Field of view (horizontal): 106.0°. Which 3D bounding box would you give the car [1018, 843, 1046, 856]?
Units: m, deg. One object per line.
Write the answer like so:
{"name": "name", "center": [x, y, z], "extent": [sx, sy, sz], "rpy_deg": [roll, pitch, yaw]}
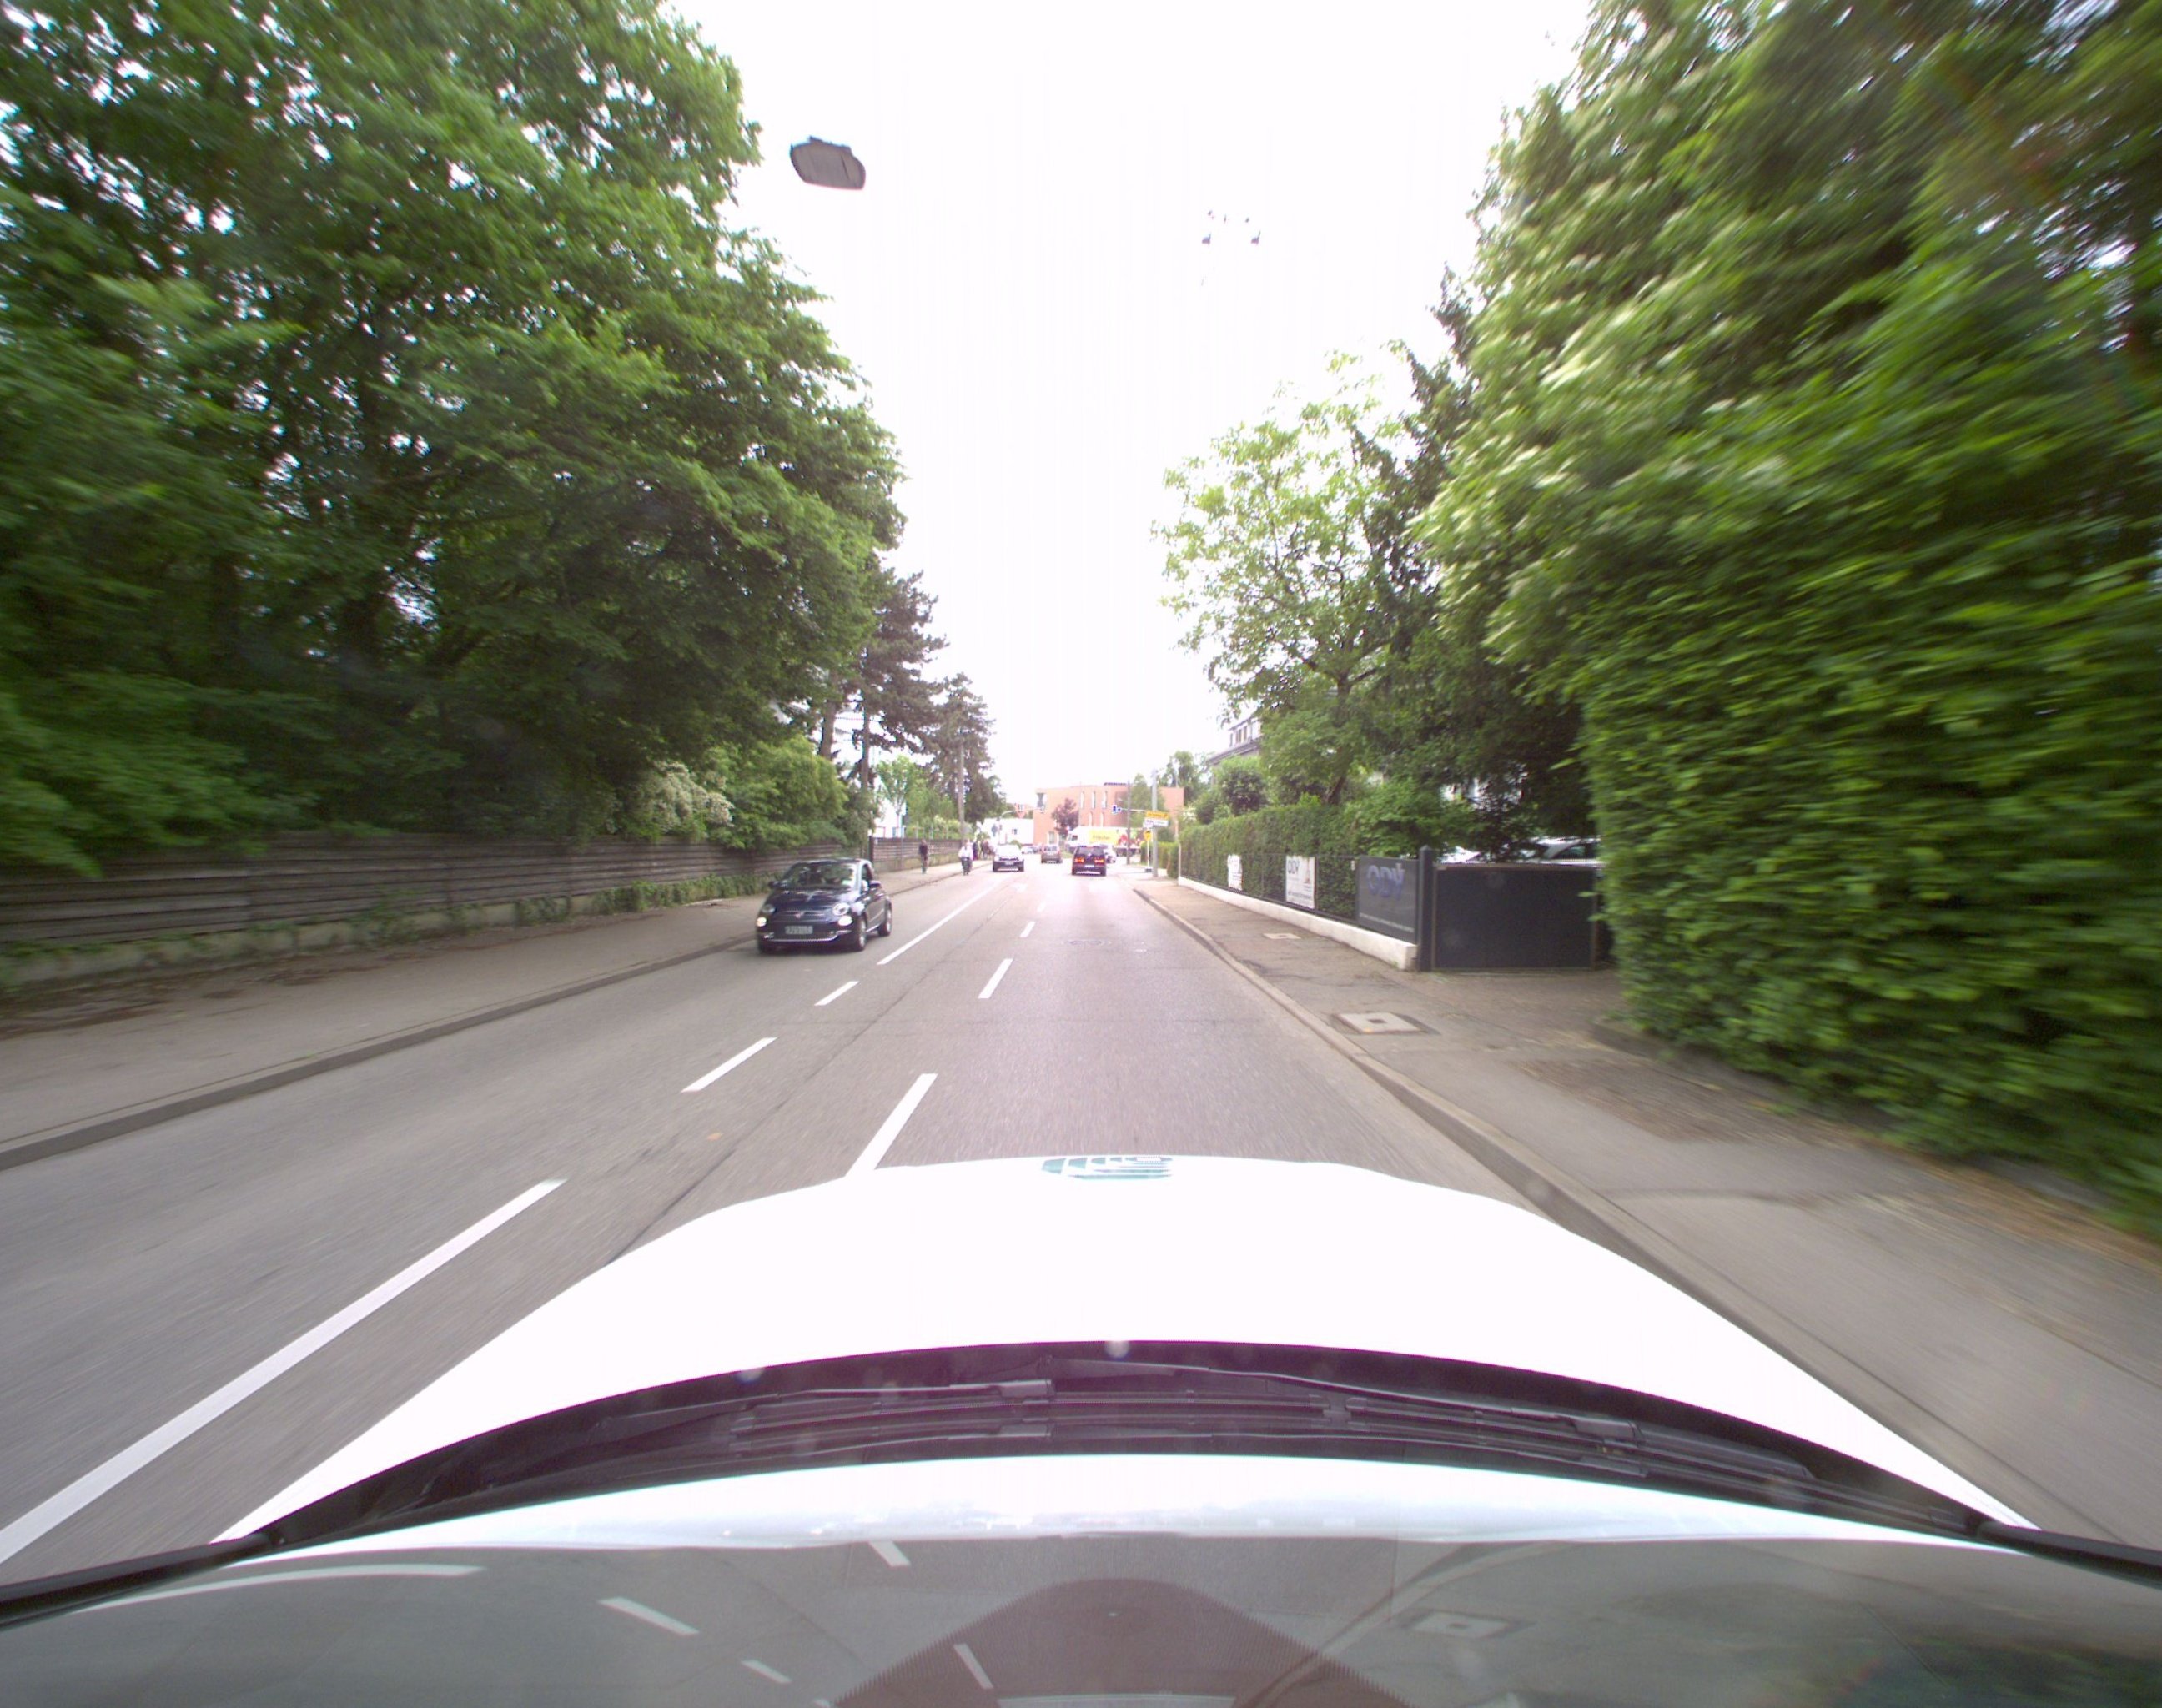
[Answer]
{"name": "car", "center": [-7.906, -0.708, 131.505], "extent": [4.010, 2.013, 1.982], "rpy_deg": [1, 1, -29]}

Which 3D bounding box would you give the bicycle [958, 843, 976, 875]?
{"name": "bicycle", "center": [-6.342, 0.272, 45.542], "extent": [0.756, 1.744, 1.870], "rpy_deg": [0, 0, -1]}

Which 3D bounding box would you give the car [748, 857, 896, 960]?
{"name": "car", "center": [-4.284, 0.820, 14.013], "extent": [1.718, 1.471, 3.524], "rpy_deg": [-1, 0, -6]}

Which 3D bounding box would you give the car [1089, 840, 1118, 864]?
{"name": "car", "center": [2.242, -0.215, 78.218], "extent": [1.949, 2.013, 4.442], "rpy_deg": [4, 2, 11]}

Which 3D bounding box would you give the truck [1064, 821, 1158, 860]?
{"name": "truck", "center": [3.888, -1.719, 106.628], "extent": [11.755, 4.734, 3.125], "rpy_deg": [1, 1, -10]}

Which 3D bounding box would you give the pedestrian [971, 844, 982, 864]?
{"name": "pedestrian", "center": [-9.537, -0.019, 74.134], "extent": [0.754, 1.837, 0.609], "rpy_deg": [1, 1, -29]}

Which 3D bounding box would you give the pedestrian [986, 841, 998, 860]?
{"name": "pedestrian", "center": [-8.230, -0.366, 75.238], "extent": [0.687, 1.734, 0.757], "rpy_deg": [2, 1, 44]}

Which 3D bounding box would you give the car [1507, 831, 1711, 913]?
{"name": "car", "center": [9.906, 0.319, 15.432], "extent": [2.980, 1.452, 1.350], "rpy_deg": [-1, 0, 3]}

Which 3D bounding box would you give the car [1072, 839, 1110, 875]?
{"name": "car", "center": [0.556, 0.161, 45.505], "extent": [1.987, 1.882, 3.999], "rpy_deg": [1, 0, 0]}

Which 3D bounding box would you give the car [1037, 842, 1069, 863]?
{"name": "car", "center": [-2.341, -0.105, 69.913], "extent": [1.881, 1.706, 4.012], "rpy_deg": [1, 1, 11]}

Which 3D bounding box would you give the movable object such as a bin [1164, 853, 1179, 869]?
{"name": "movable object such as a bin", "center": [6.370, 0.490, 57.403], "extent": [0.719, 1.073, 0.674], "rpy_deg": [3, -1, -38]}

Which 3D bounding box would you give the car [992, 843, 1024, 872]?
{"name": "car", "center": [-4.495, 0.178, 50.218], "extent": [1.829, 1.630, 4.275], "rpy_deg": [-1, 1, -5]}

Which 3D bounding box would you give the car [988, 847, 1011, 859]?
{"name": "car", "center": [-14.906, -0.228, 148.751], "extent": [3.996, 2.013, 1.989], "rpy_deg": [1, 1, -17]}

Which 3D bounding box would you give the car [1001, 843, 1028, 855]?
{"name": "car", "center": [-11.343, -0.846, 138.663], "extent": [4.010, 2.013, 1.982], "rpy_deg": [0, 1, -28]}

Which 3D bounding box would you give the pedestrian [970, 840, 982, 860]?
{"name": "pedestrian", "center": [-9.584, -0.360, 74.142], "extent": [0.818, 1.763, 0.861], "rpy_deg": [1, 1, -23]}

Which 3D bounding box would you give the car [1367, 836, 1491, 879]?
{"name": "car", "center": [12.384, 0.103, 29.229], "extent": [3.954, 1.464, 2.010], "rpy_deg": [1, 0, 19]}

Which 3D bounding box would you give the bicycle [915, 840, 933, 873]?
{"name": "bicycle", "center": [-8.299, 0.108, 43.139], "extent": [0.560, 1.676, 1.980], "rpy_deg": [2, 0, -1]}
